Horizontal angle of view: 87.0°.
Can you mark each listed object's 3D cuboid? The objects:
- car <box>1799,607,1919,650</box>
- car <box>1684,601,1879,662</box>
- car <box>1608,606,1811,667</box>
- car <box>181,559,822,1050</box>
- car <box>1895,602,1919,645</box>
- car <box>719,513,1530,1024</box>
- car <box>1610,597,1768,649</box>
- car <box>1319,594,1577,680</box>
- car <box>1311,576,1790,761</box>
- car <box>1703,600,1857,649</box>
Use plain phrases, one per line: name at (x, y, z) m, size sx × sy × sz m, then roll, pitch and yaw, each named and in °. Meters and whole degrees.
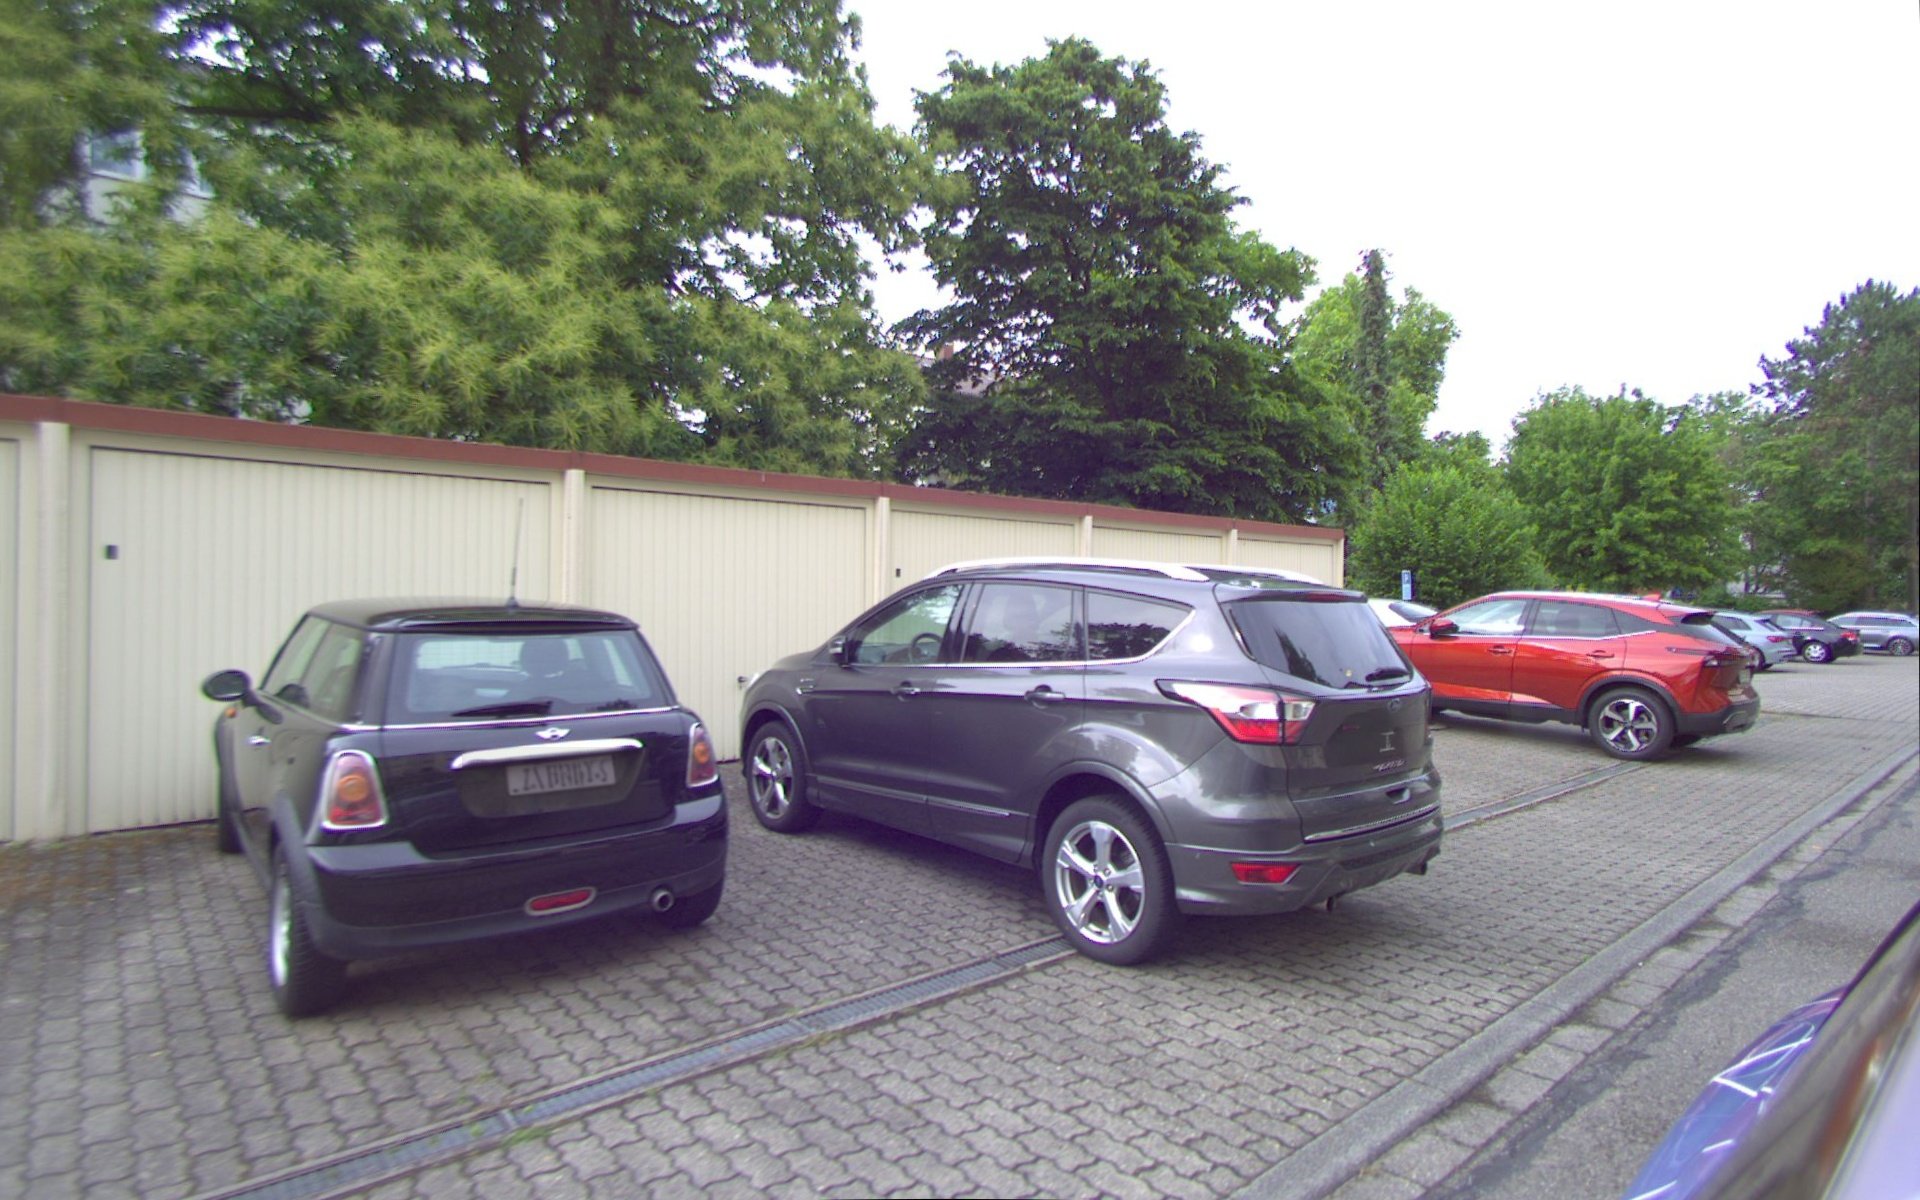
car at (33.473, 1.021, 36.978) m, size 1.757 × 1.504 × 4.099 m, roll 1°, pitch -1°, yaw -41°
car at (25.007, 0.889, 30.931) m, size 1.756 × 1.503 × 4.334 m, roll 1°, pitch 2°, yaw -40°
car at (19.224, 0.886, 26.066) m, size 1.702 × 1.453 × 3.969 m, roll 1°, pitch -1°, yaw -43°
car at (-2.579, 0.571, 5.144) m, size 1.965 × 1.464 × 3.764 m, roll 1°, pitch 2°, yaw -41°
car at (38.571, 0.897, 38.622) m, size 1.757 × 1.667 × 4.099 m, roll 1°, pitch -1°, yaw -41°
car at (0.548, 0.506, 5.702) m, size 1.965 × 1.749 × 4.203 m, roll 1°, pitch 2°, yaw -41°
car at (25.217, 0.761, 35.123) m, size 1.756 × 1.503 × 4.103 m, roll 1°, pitch 2°, yaw -40°
car at (10.216, 0.692, 21.460) m, size 1.834 × 1.549 × 4.581 m, roll 1°, pitch 1°, yaw -41°
car at (6.466, 0.594, 11.486) m, size 1.902 × 1.606 × 4.296 m, roll 1°, pitch 2°, yaw -41°
car at (30.114, 0.860, 37.264) m, size 1.756 × 1.503 × 4.103 m, roll 1°, pitch 2°, yaw -40°
